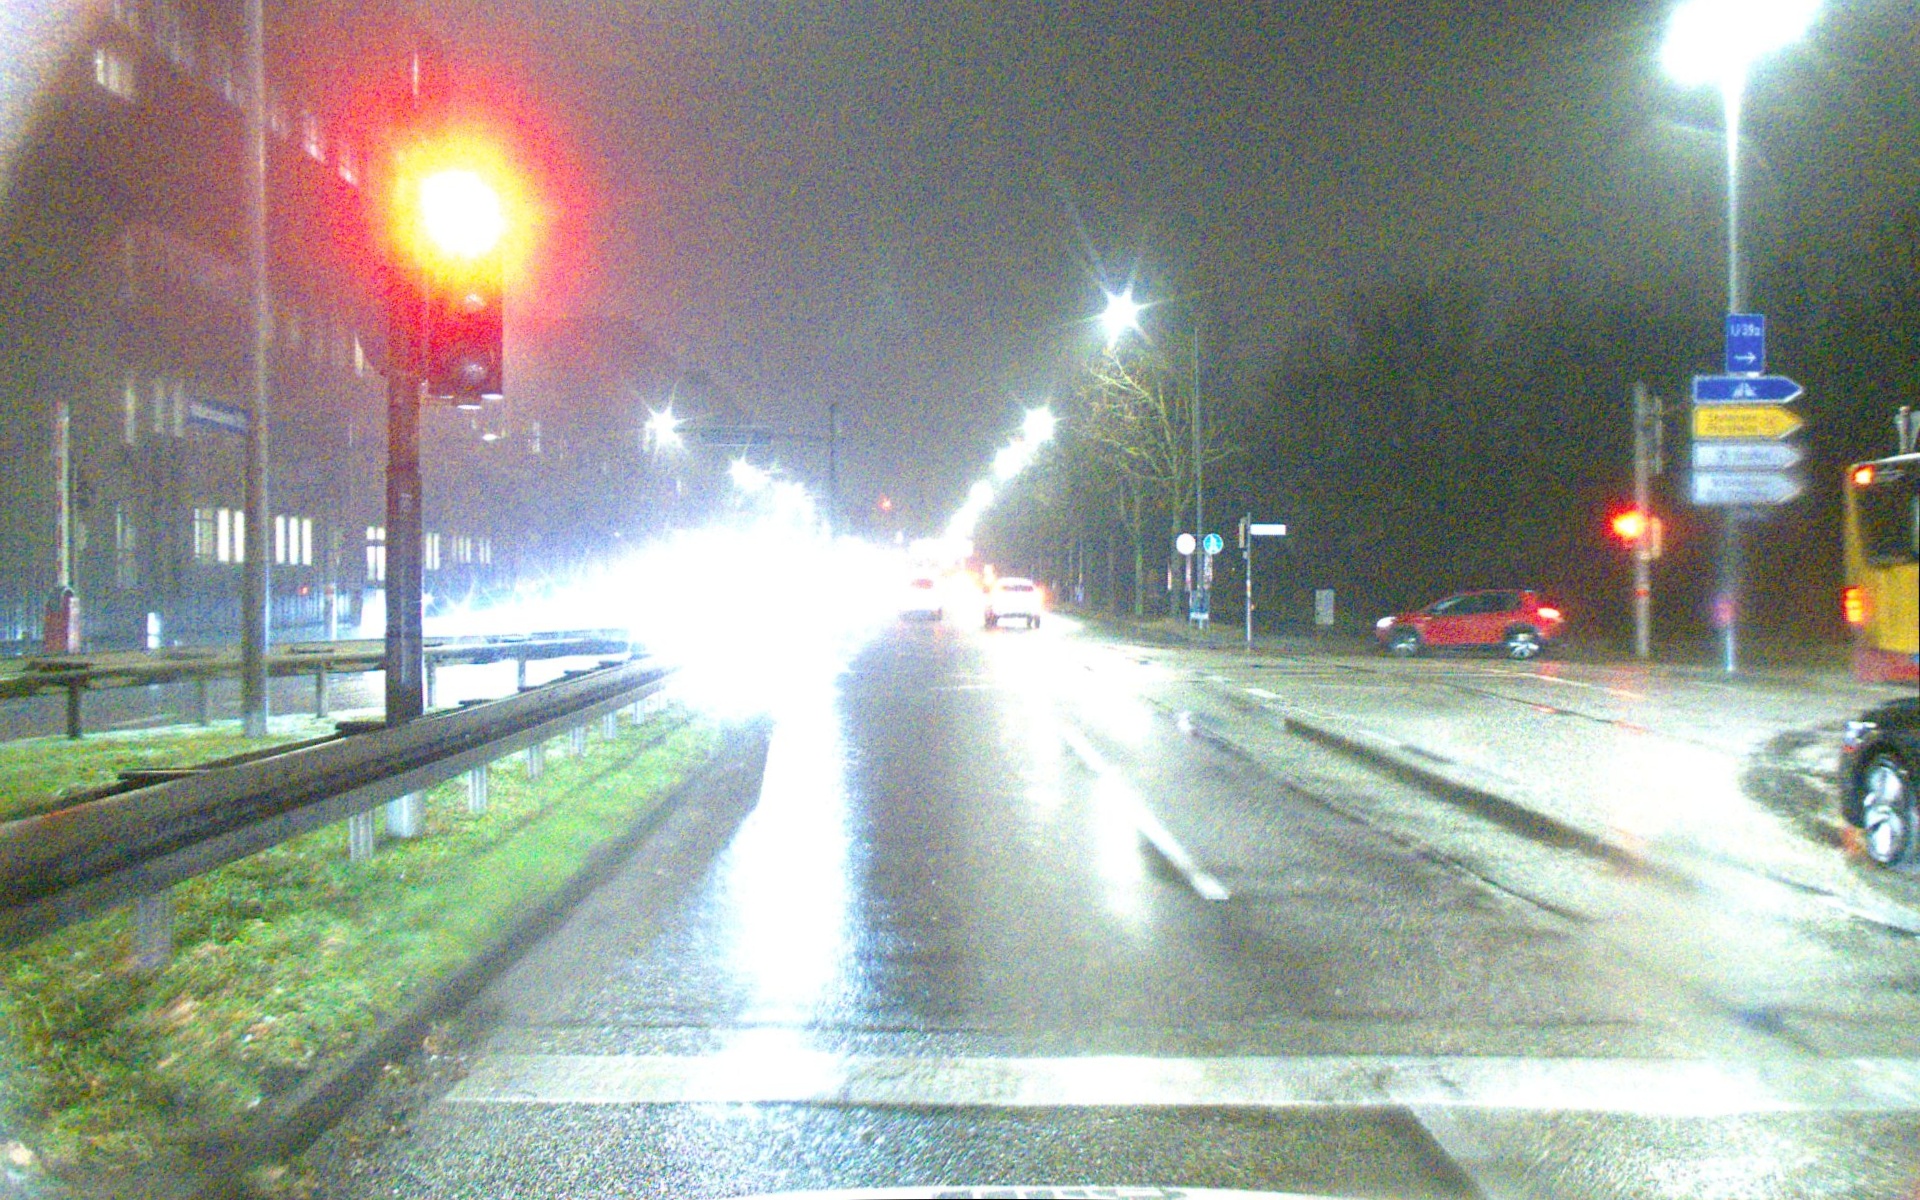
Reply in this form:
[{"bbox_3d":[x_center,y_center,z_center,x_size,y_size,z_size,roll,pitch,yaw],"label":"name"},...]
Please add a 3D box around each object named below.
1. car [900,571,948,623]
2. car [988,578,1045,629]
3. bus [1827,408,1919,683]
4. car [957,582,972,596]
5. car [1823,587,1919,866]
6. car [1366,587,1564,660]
[{"bbox_3d":[-1.388,-0.102,64.011,1.754,1.907,4.625,1,0,-1],"label":"car"},{"bbox_3d":[1.980,0.135,59.424,1.755,1.708,4.427,1,0,-2],"label":"car"},{"bbox_3d":[15.550,-0.578,20.870,9.598,3.178,2.758,1,0,-23],"label":"bus"},{"bbox_3d":[0.623,-1.397,220.789,1.953,1.790,3.999,1,0,-1],"label":"car"},{"bbox_3d":[6.071,0.691,7.587,1.800,1.504,4.628,1,0,0],"label":"car"},{"bbox_3d":[11.251,0.502,36.826,4.056,1.513,1.796,1,0,23],"label":"car"}]
